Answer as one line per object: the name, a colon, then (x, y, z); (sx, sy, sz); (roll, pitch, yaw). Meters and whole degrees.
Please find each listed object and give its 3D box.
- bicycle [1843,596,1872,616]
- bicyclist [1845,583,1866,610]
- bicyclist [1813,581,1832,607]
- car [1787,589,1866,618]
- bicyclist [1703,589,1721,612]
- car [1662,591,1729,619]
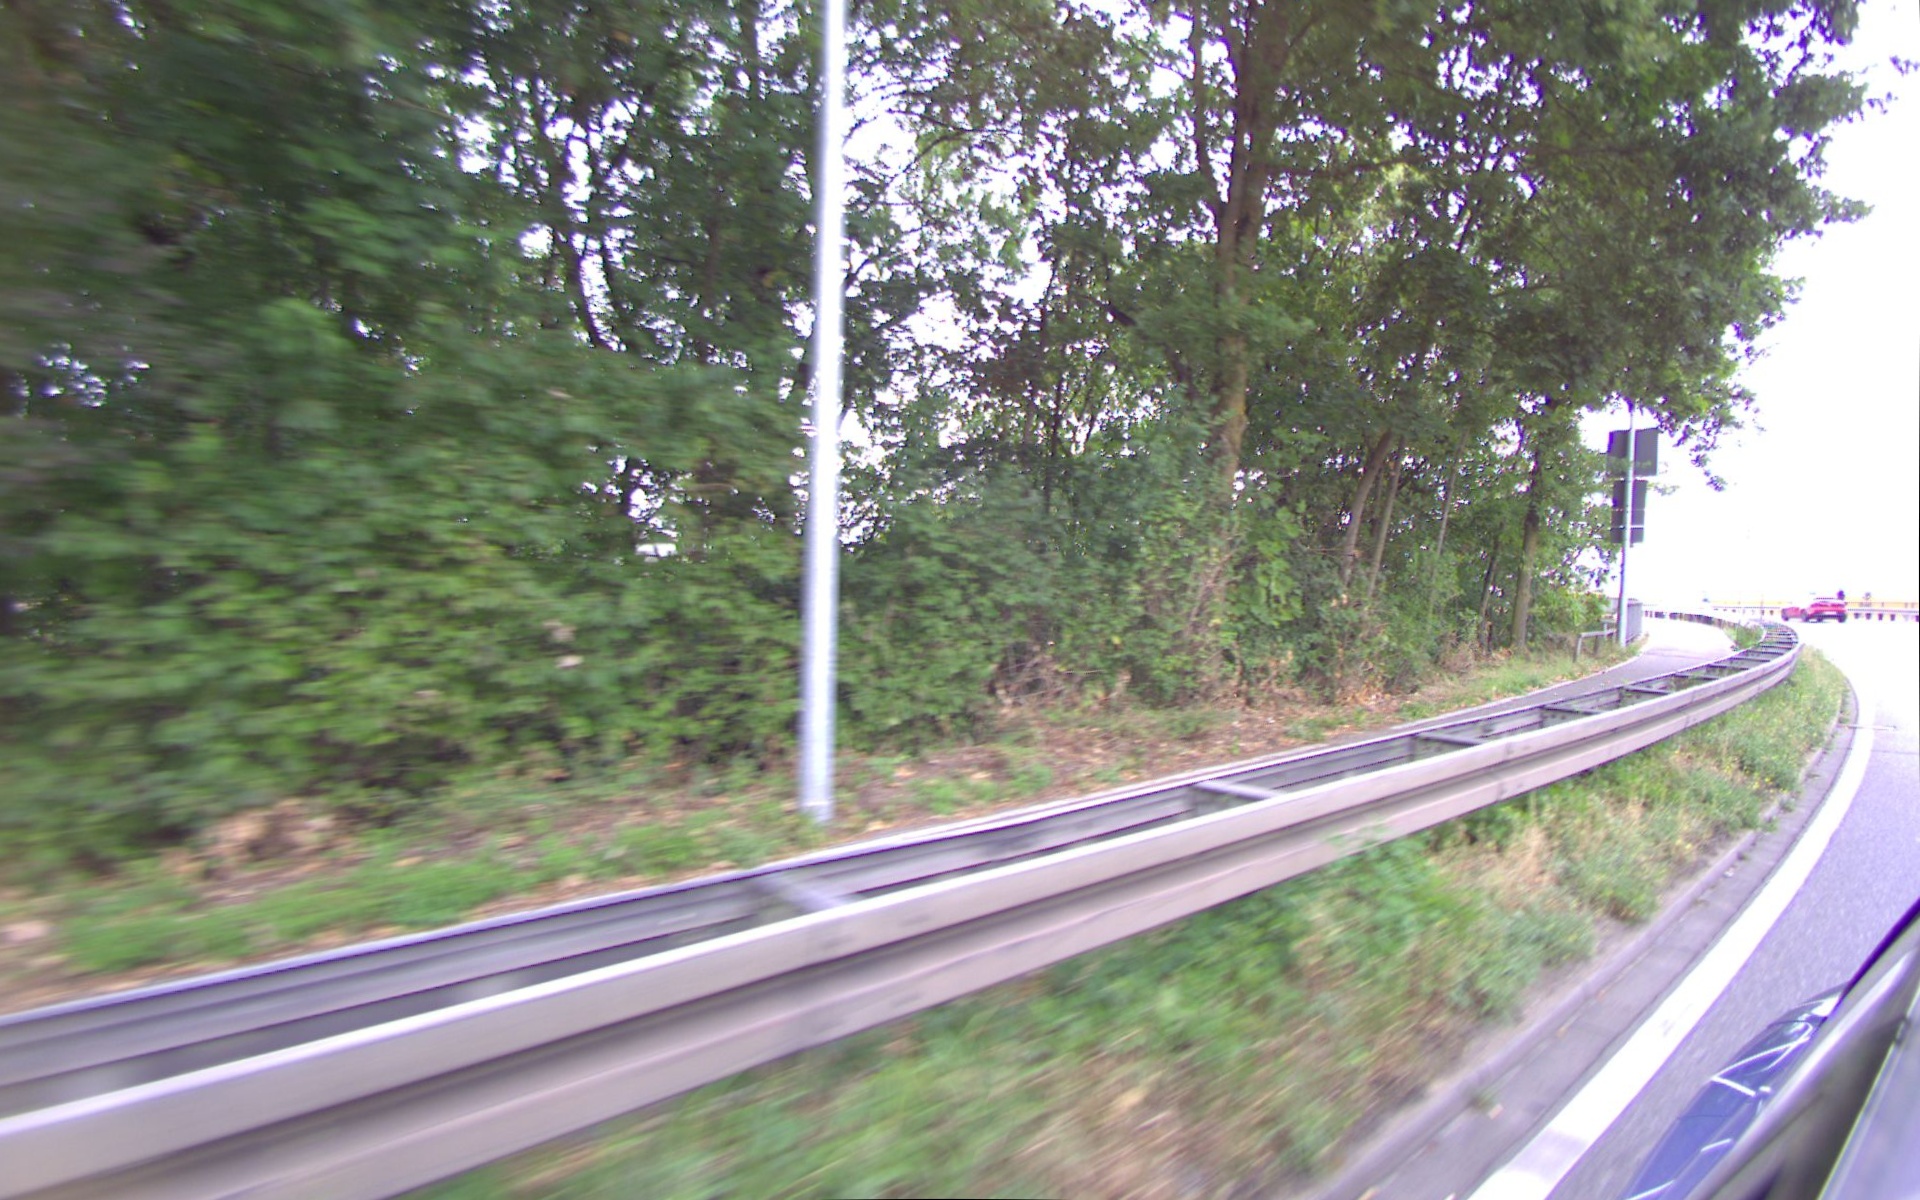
bicycle: (54.364, 0.355, 61.298); (0.629, 1.188, 1.894); (0, 0, 20)
bicyclist: (54.298, -0.219, 61.344); (0.765, 1.651, 0.644); (0, 1, 23)
bicyclist: (53.531, -0.376, 62.792); (0.602, 1.559, 0.755); (0, 0, 10)
car: (46.504, 0.143, 54.440); (1.780, 1.490, 4.602); (0, 1, 22)
bicyclist: (58.979, 0.018, 79.366); (0.838, 1.831, 0.794); (0, 0, 13)
car: (44.578, 0.262, 61.430); (1.912, 1.474, 3.868); (4, 2, 15)
